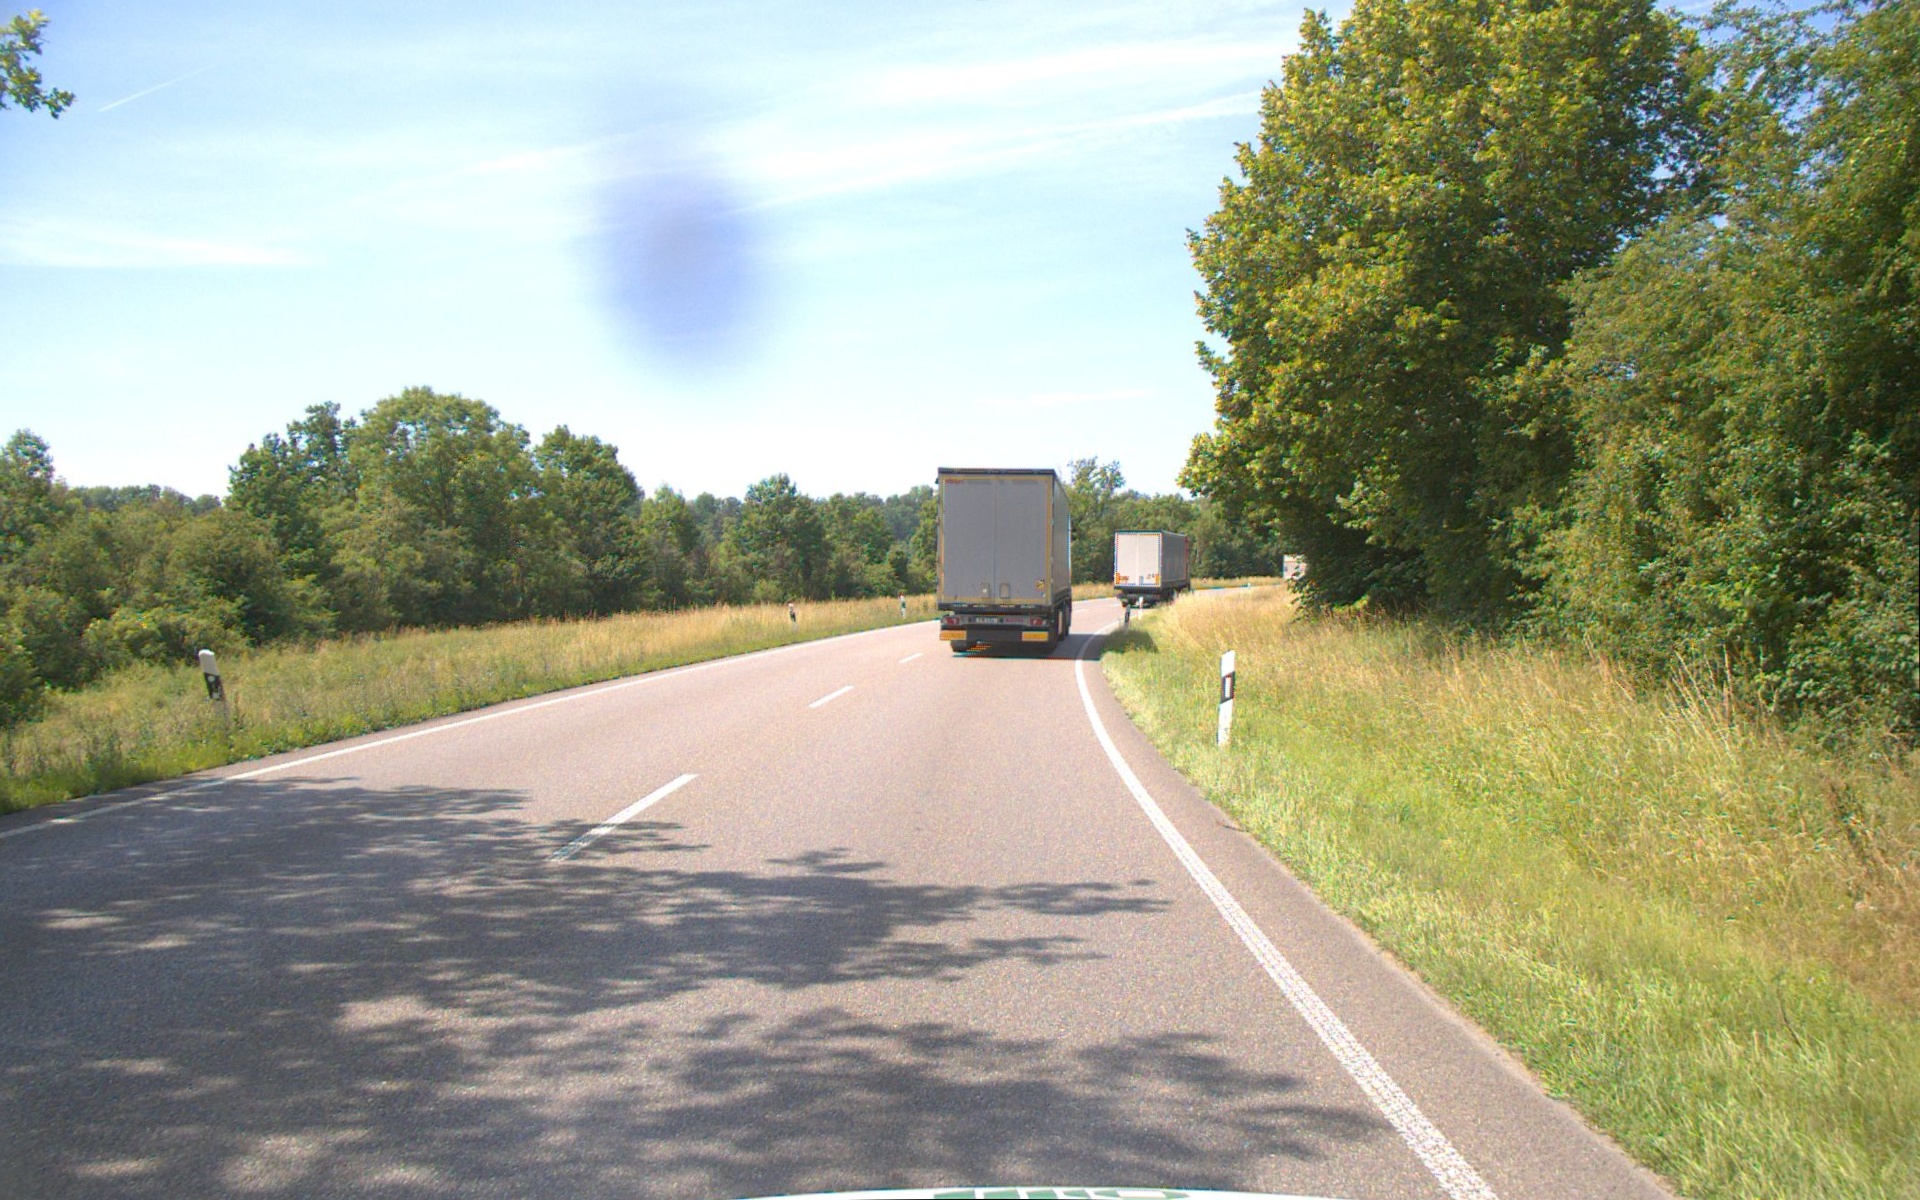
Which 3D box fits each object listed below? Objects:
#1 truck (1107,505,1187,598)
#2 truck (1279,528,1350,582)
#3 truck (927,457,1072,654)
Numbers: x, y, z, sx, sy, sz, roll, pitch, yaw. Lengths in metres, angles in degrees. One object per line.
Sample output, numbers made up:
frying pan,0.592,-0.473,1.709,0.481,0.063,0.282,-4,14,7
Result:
truck,10.865,-2.588,94.430,3.038,4.788,16.604,0,0,12
truck,33.662,-4.157,156.238,3.043,4.788,16.579,0,0,24
truck,1.355,-1.005,42.700,2.742,4.139,15.335,1,0,5
